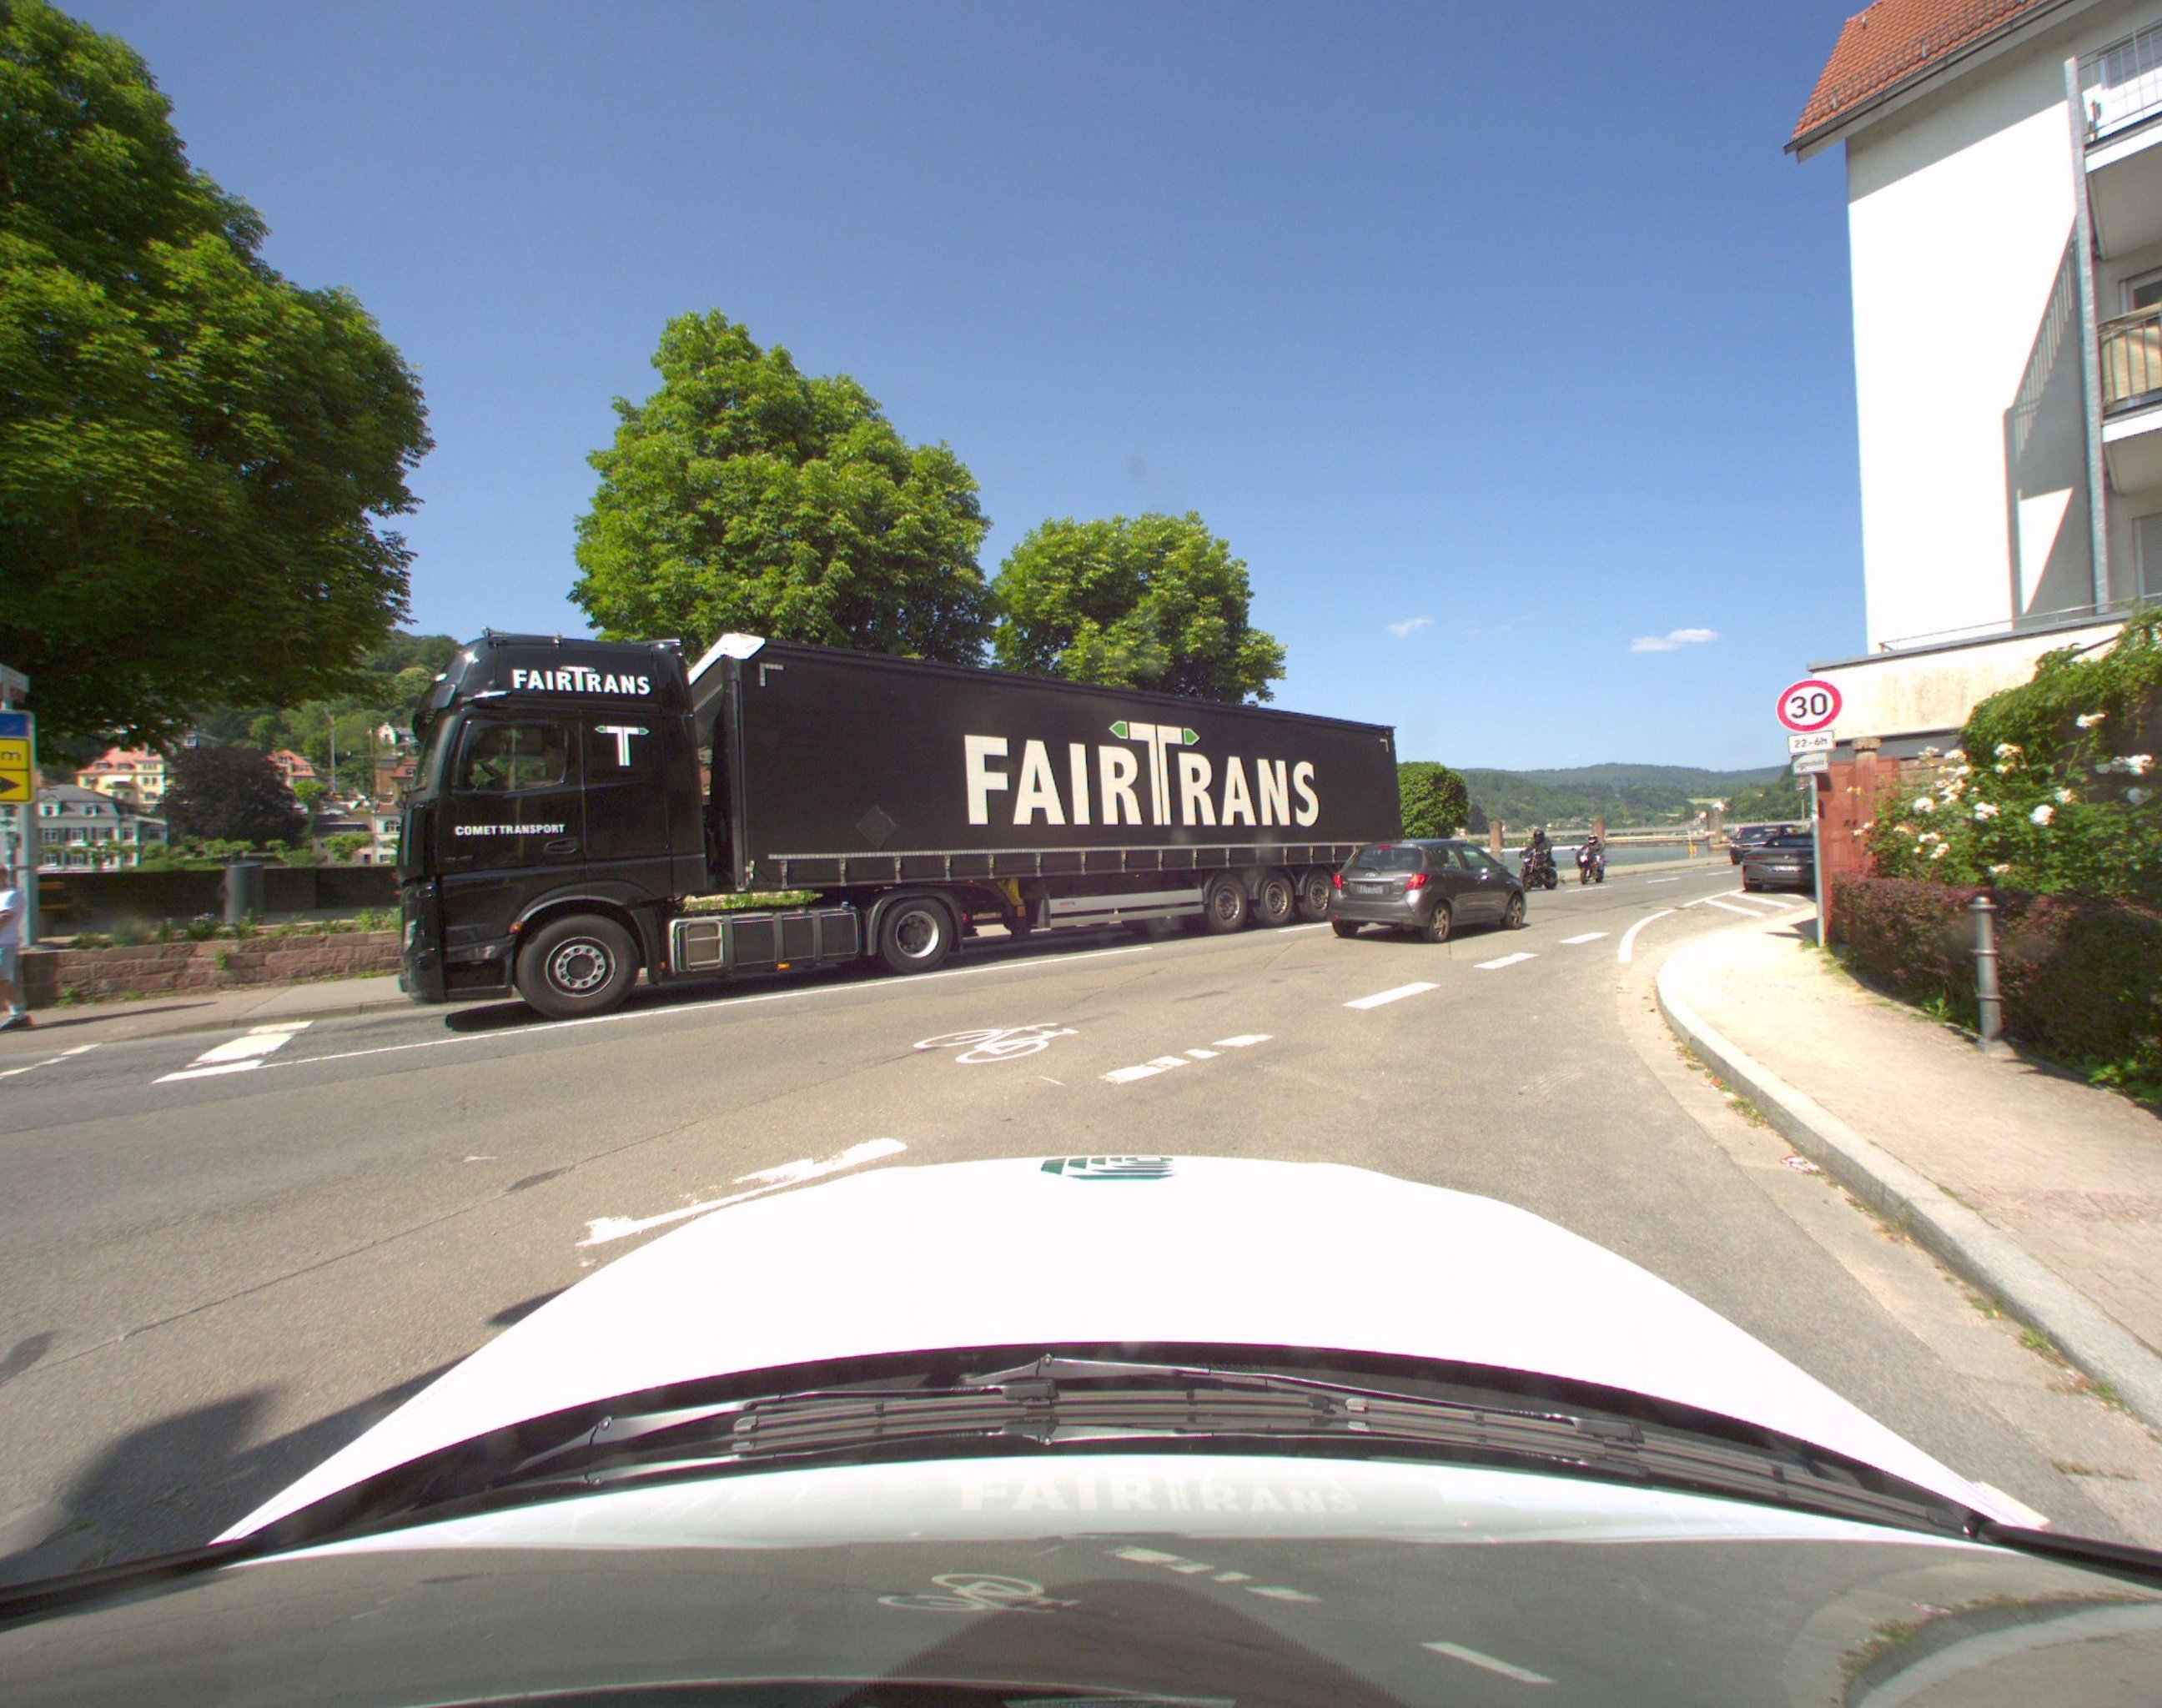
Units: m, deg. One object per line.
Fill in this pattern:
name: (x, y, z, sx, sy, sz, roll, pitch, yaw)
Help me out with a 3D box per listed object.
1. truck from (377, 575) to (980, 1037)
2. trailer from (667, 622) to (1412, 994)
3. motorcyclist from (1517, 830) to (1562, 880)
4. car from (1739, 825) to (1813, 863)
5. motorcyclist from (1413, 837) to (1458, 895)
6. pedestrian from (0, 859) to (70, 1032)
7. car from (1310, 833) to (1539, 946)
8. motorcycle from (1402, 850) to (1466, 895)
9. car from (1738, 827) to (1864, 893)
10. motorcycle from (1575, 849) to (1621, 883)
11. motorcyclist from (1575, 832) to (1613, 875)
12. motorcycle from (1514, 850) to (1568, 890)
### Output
truck: (-4.650, -0.443, 10.112, 5.961, 4.071, 2.807, -2, -2, -38)
trailer: (0.689, -0.644, 14.339, 13.839, 4.104, 2.809, -2, -2, -38)
motorcyclist: (12.828, 0.030, 22.785, 0.804, 1.366, 0.780, -2, -1, -39)
car: (32.759, -0.474, 38.369, 3.790, 1.669, 1.754, -2, 0, -35)
motorcyclist: (9.737, 0.323, 22.348, 0.996, 1.525, 0.658, -2, -2, -39)
pedestrian: (-11.559, 0.970, 8.750, 0.708, 1.802, 0.573, -2, -1, -34)
car: (5.534, 0.474, 12.929, 3.901, 1.498, 1.707, -2, -1, -40)
motorcycle: (9.671, 0.492, 22.265, 2.103, 1.123, 0.628, -2, -3, -39)
car: (17.049, 0.093, 19.243, 3.759, 1.399, 1.673, -2, 0, -40)
motorcycle: (16.681, 0.389, 26.275, 1.824, 1.024, 0.651, -2, -1, -39)
motorcyclist: (16.508, -0.016, 26.188, 0.941, 1.366, 0.711, -2, -1, -39)
motorcycle: (12.882, 0.446, 22.775, 1.824, 1.024, 0.651, -2, -1, -39)
